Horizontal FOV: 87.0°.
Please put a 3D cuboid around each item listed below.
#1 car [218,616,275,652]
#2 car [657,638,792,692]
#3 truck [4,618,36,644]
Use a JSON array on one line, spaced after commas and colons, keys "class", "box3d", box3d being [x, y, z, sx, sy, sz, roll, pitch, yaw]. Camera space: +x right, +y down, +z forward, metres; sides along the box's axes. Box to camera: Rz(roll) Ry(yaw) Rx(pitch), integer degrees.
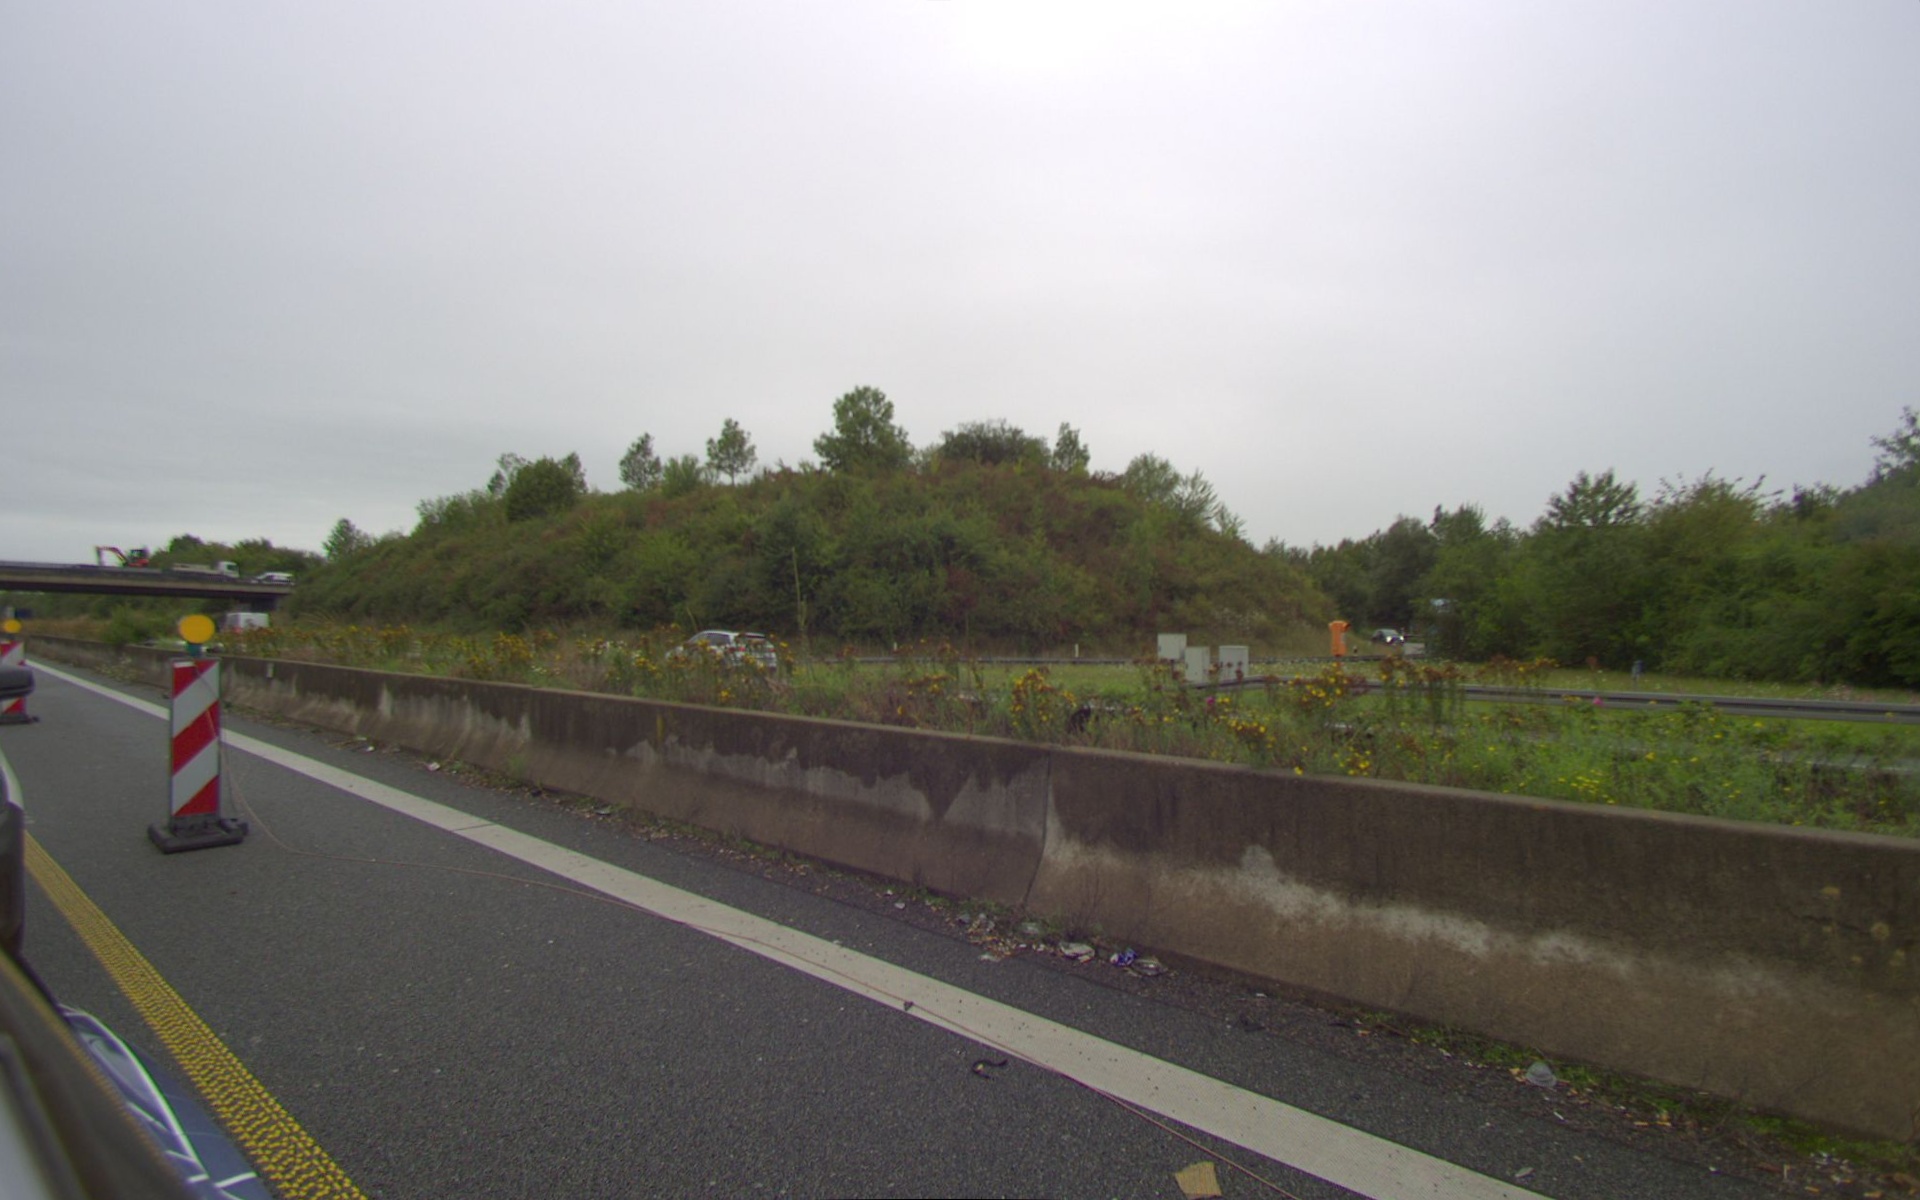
[{"class": "car", "box3d": [-50.856, 2.439, 72.086, 5.884, 2.459, 2.214, -2, -3, 44]}, {"class": "car", "box3d": [-7.114, 1.892, 30.393, 4.108, 1.491, 1.972, -2, -3, 42]}, {"class": "truck", "box3d": [-176.345, 5.644, 189.789, 17.291, 4.558, 3.369, 0, -1, 44]}]
